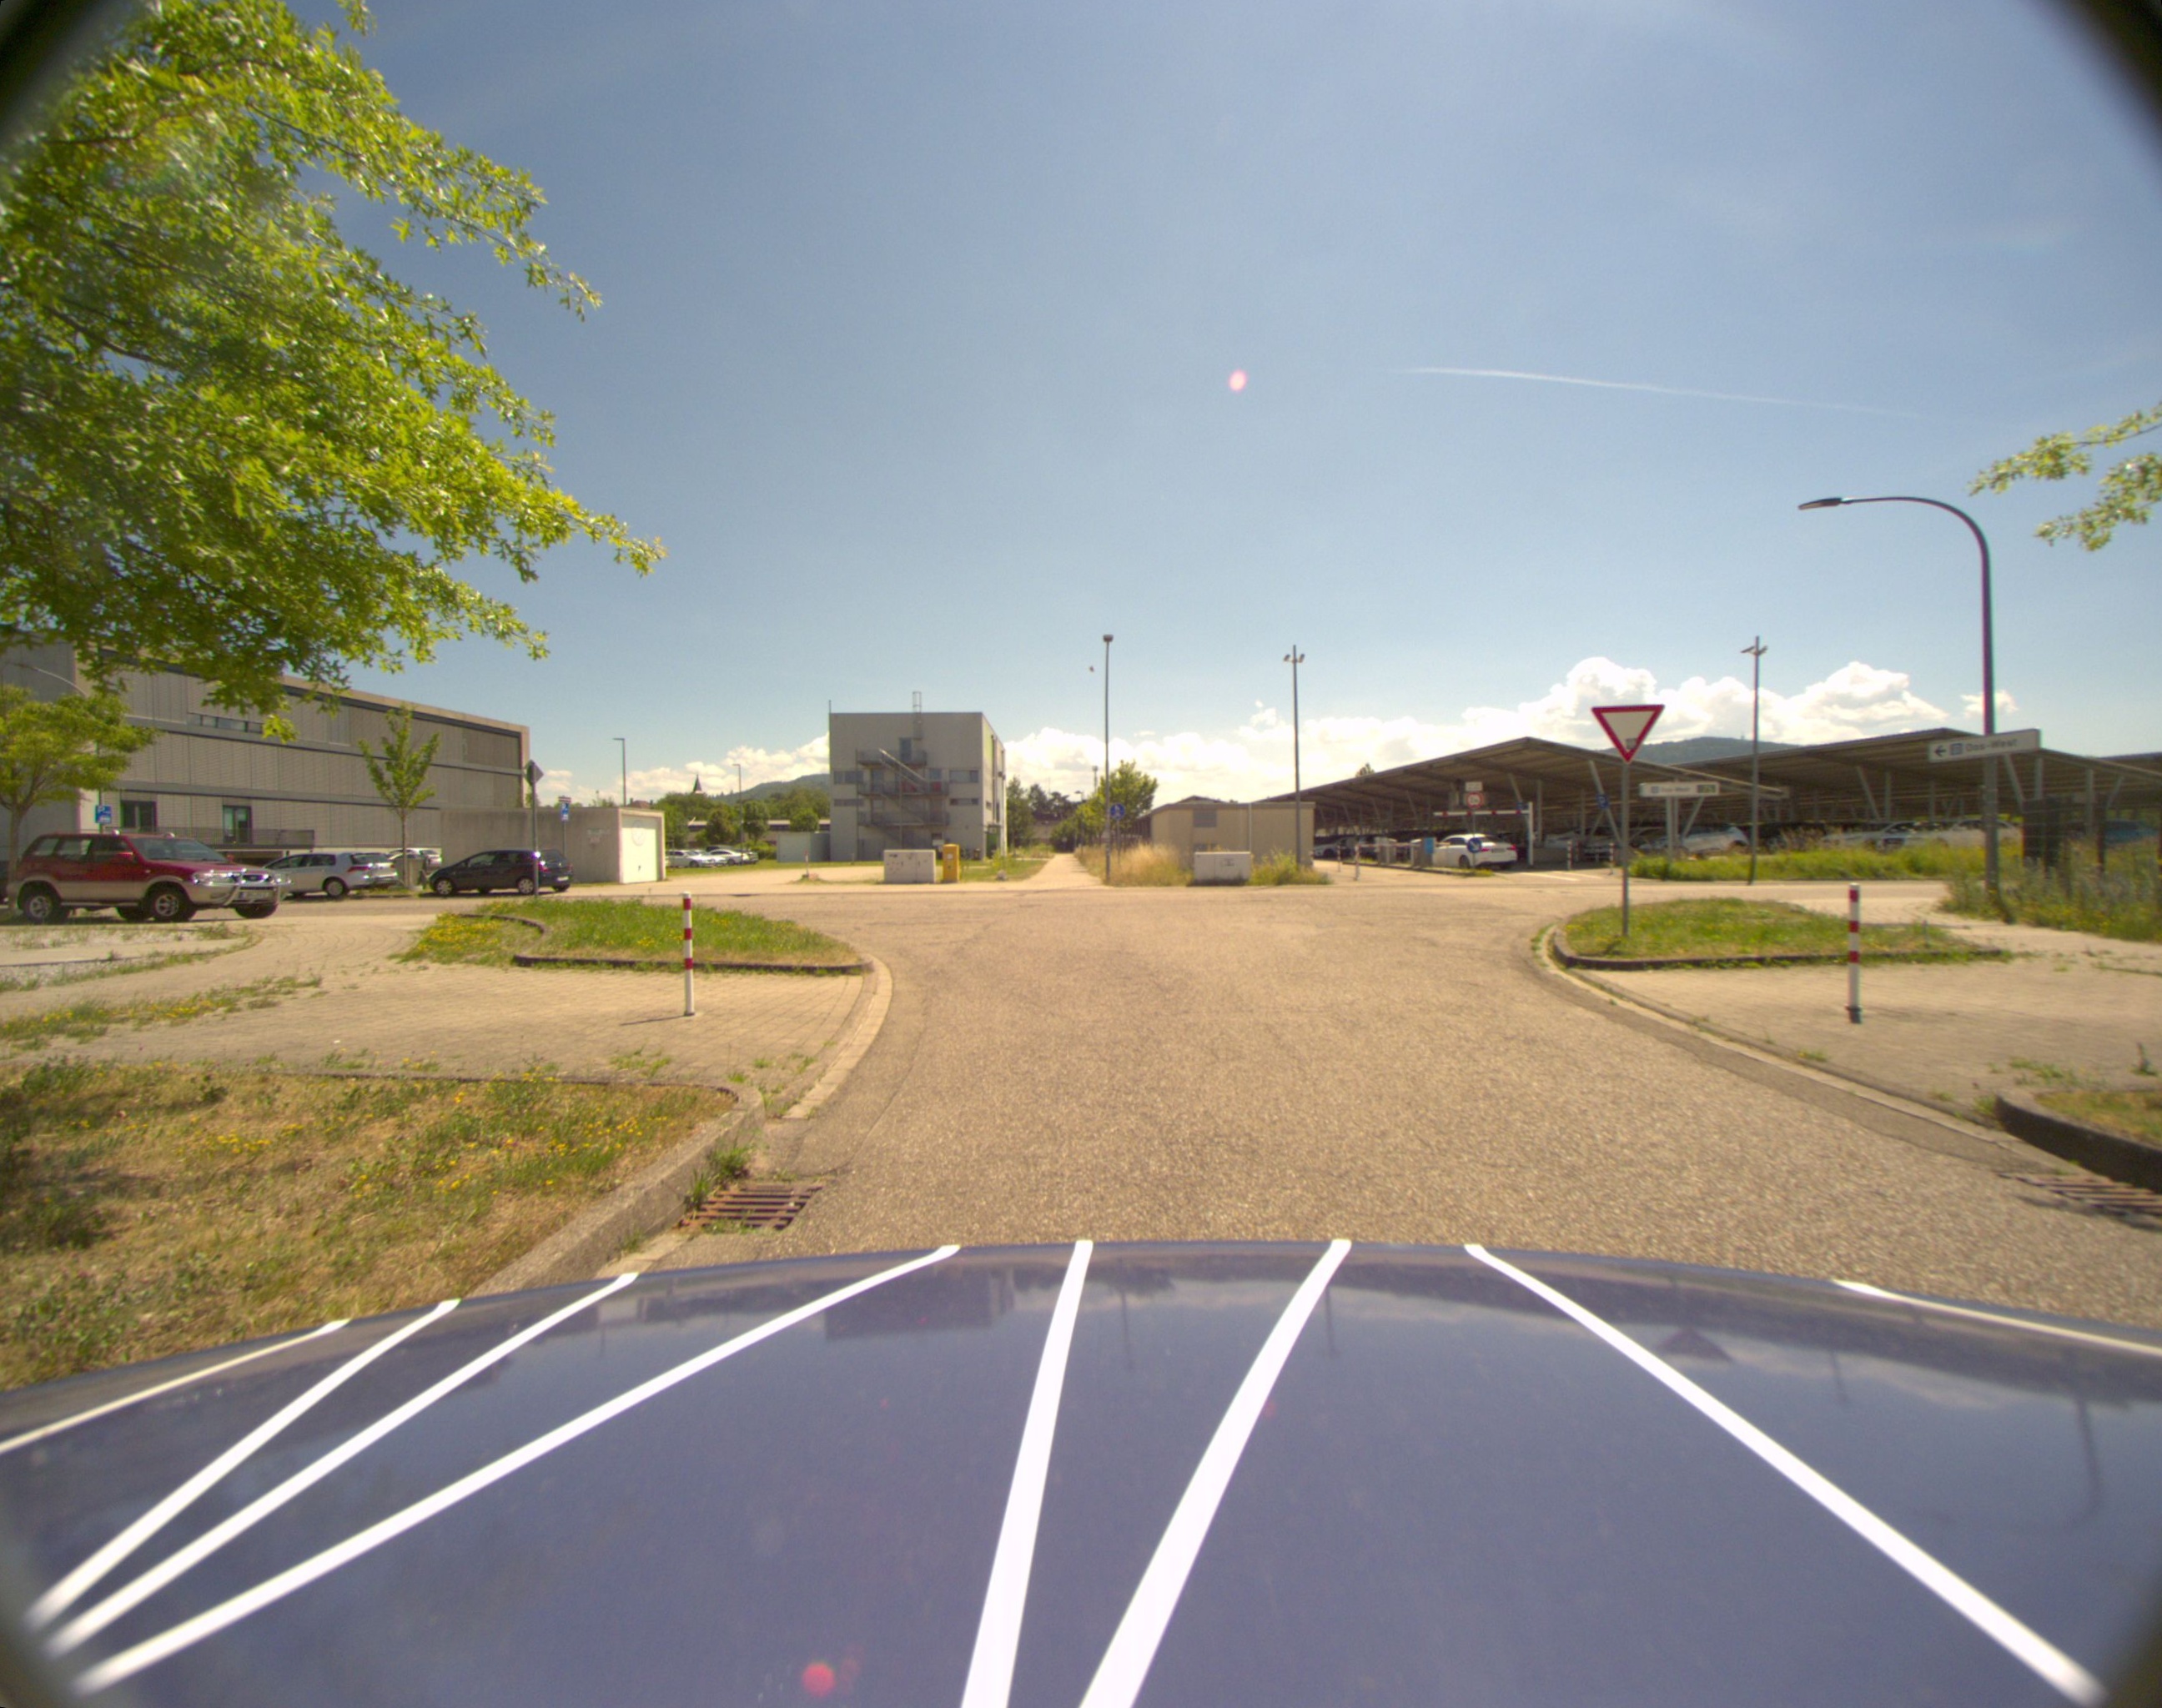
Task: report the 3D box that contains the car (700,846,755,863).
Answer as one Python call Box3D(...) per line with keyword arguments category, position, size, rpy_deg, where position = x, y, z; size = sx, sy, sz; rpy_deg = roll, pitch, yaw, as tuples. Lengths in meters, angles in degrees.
Box3D(category="car", position=(-31.094, 0.063, 66.877), size=(4.054, 1.417, 1.658), rpy_deg=(-1, 2, 0))

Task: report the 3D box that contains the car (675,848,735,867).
Box3D(category="car", position=(-30.713, 0.273, 62.105), size=(4.054, 1.458, 1.658), rpy_deg=(-1, 2, 0))

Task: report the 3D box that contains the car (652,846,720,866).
Box3D(category="car", position=(-30.820, 0.177, 59.422), size=(4.368, 1.458, 1.709), rpy_deg=(-1, 2, 0))

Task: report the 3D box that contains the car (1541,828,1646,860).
Box3D(category="car", position=(23.914, -0.472, 35.552), size=(3.774, 1.428, 1.723), rpy_deg=(-1, 1, -2))

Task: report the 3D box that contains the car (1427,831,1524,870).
Box3D(category="car", position=(15.452, -0.150, 29.968), size=(1.722, 1.428, 3.774), rpy_deg=(-1, 1, -3))

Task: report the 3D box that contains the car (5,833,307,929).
Box3D(category="car", position=(-18.722, 0.541, 15.526), size=(3.997, 1.764, 1.811), rpy_deg=(-1, -1, 1))

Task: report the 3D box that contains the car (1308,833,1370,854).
Box3D(category="car", position=(18.240, -0.734, 53.817), size=(3.774, 1.428, 1.723), rpy_deg=(-1, 1, -2))

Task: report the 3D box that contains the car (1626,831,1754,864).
Box3D(category="car", position=(24.158, -0.262, 30.243), size=(3.774, 1.221, 1.723), rpy_deg=(-1, 1, -2))

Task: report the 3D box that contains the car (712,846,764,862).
Box3D(category="car", position=(-31.650, 0.003, 70.179), size=(4.054, 1.379, 1.658), rpy_deg=(-1, 2, 0))

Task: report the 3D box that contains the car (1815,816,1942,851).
Box3D(category="car", position=(34.673, -0.892, 33.095), size=(3.774, 1.428, 1.723), rpy_deg=(-1, 1, -2))

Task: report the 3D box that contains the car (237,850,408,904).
Box3D(category="car", position=(-24.016, 0.701, 24.163), size=(3.626, 1.493, 1.657), rpy_deg=(-1, 4, -2))

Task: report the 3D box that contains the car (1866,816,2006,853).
Box3D(category="car", position=(34.428, -0.768, 30.658), size=(3.774, 1.428, 1.723), rpy_deg=(-1, 1, -2))

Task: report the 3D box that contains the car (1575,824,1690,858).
Box3D(category="car", position=(23.962, -0.557, 33.094), size=(3.774, 1.428, 1.723), rpy_deg=(-1, 1, -2))

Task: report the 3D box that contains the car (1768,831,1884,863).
Box3D(category="car", position=(34.668, -0.340, 35.410), size=(3.774, 1.428, 1.723), rpy_deg=(-1, 1, -2))

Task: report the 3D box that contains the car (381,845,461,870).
Box3D(category="car", position=(-42.656, 0.218, 49.159), size=(3.625, 1.493, 1.658), rpy_deg=(-1, 4, 2))

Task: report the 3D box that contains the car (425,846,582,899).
Box3D(category="car", position=(-18.321, 0.567, 24.228), size=(3.625, 1.493, 1.682), rpy_deg=(-1, 4, 0))

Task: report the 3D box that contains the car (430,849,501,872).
Box3D(category="car", position=(-43.474, 0.473, 53.718), size=(3.625, 1.493, 1.658), rpy_deg=(-1, 4, 2))

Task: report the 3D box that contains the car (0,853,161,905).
Box3D(category="car", position=(-31.859, 0.765, 23.938), size=(3.625, 1.461, 1.658), rpy_deg=(-1, 4, 0))
